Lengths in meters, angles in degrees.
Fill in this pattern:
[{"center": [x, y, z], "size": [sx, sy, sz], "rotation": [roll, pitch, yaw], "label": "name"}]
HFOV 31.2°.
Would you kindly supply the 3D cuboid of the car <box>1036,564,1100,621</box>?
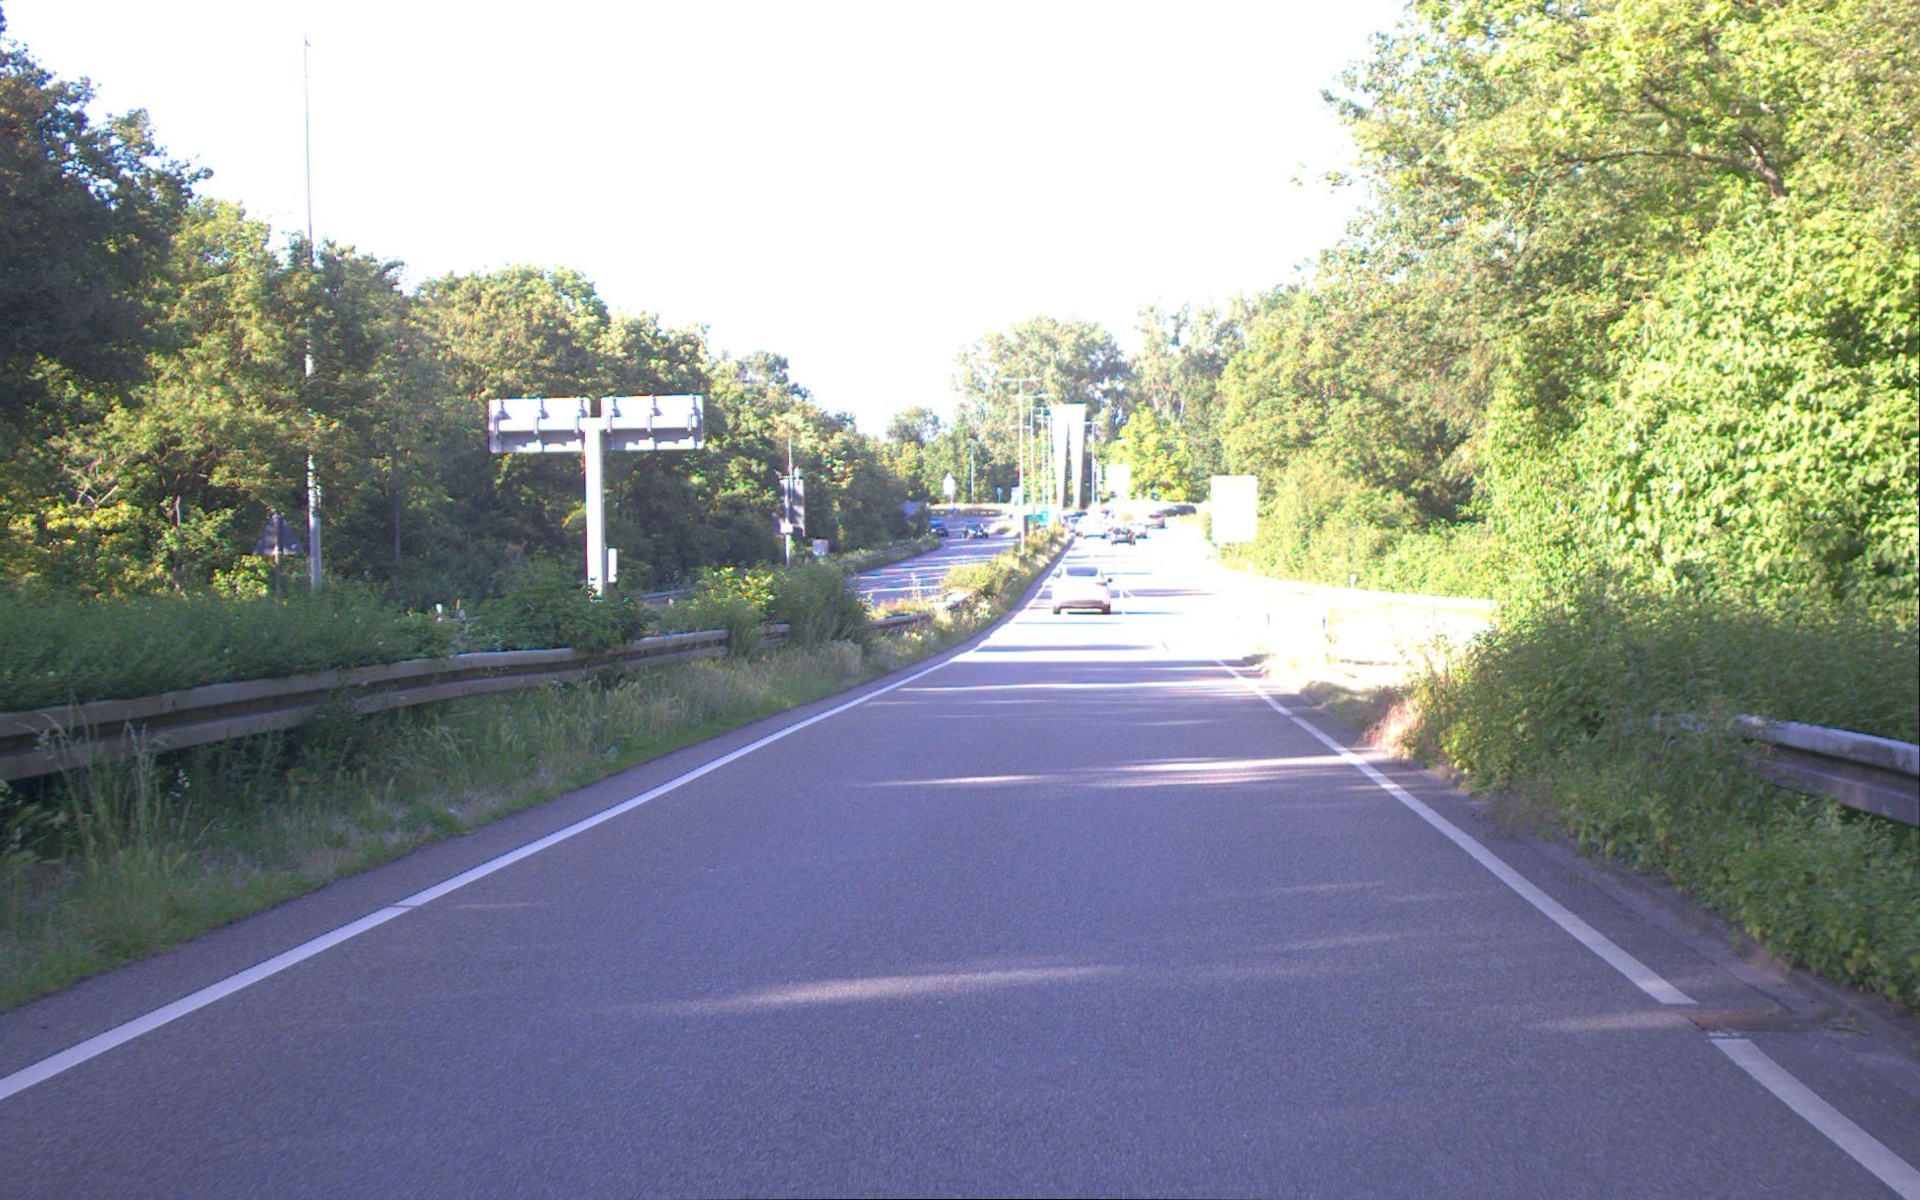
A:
[{"center": [3.570, -0.267, 114.192], "size": [1.884, 1.809, 4.000], "rotation": [1, 1, -1], "label": "car"}]
